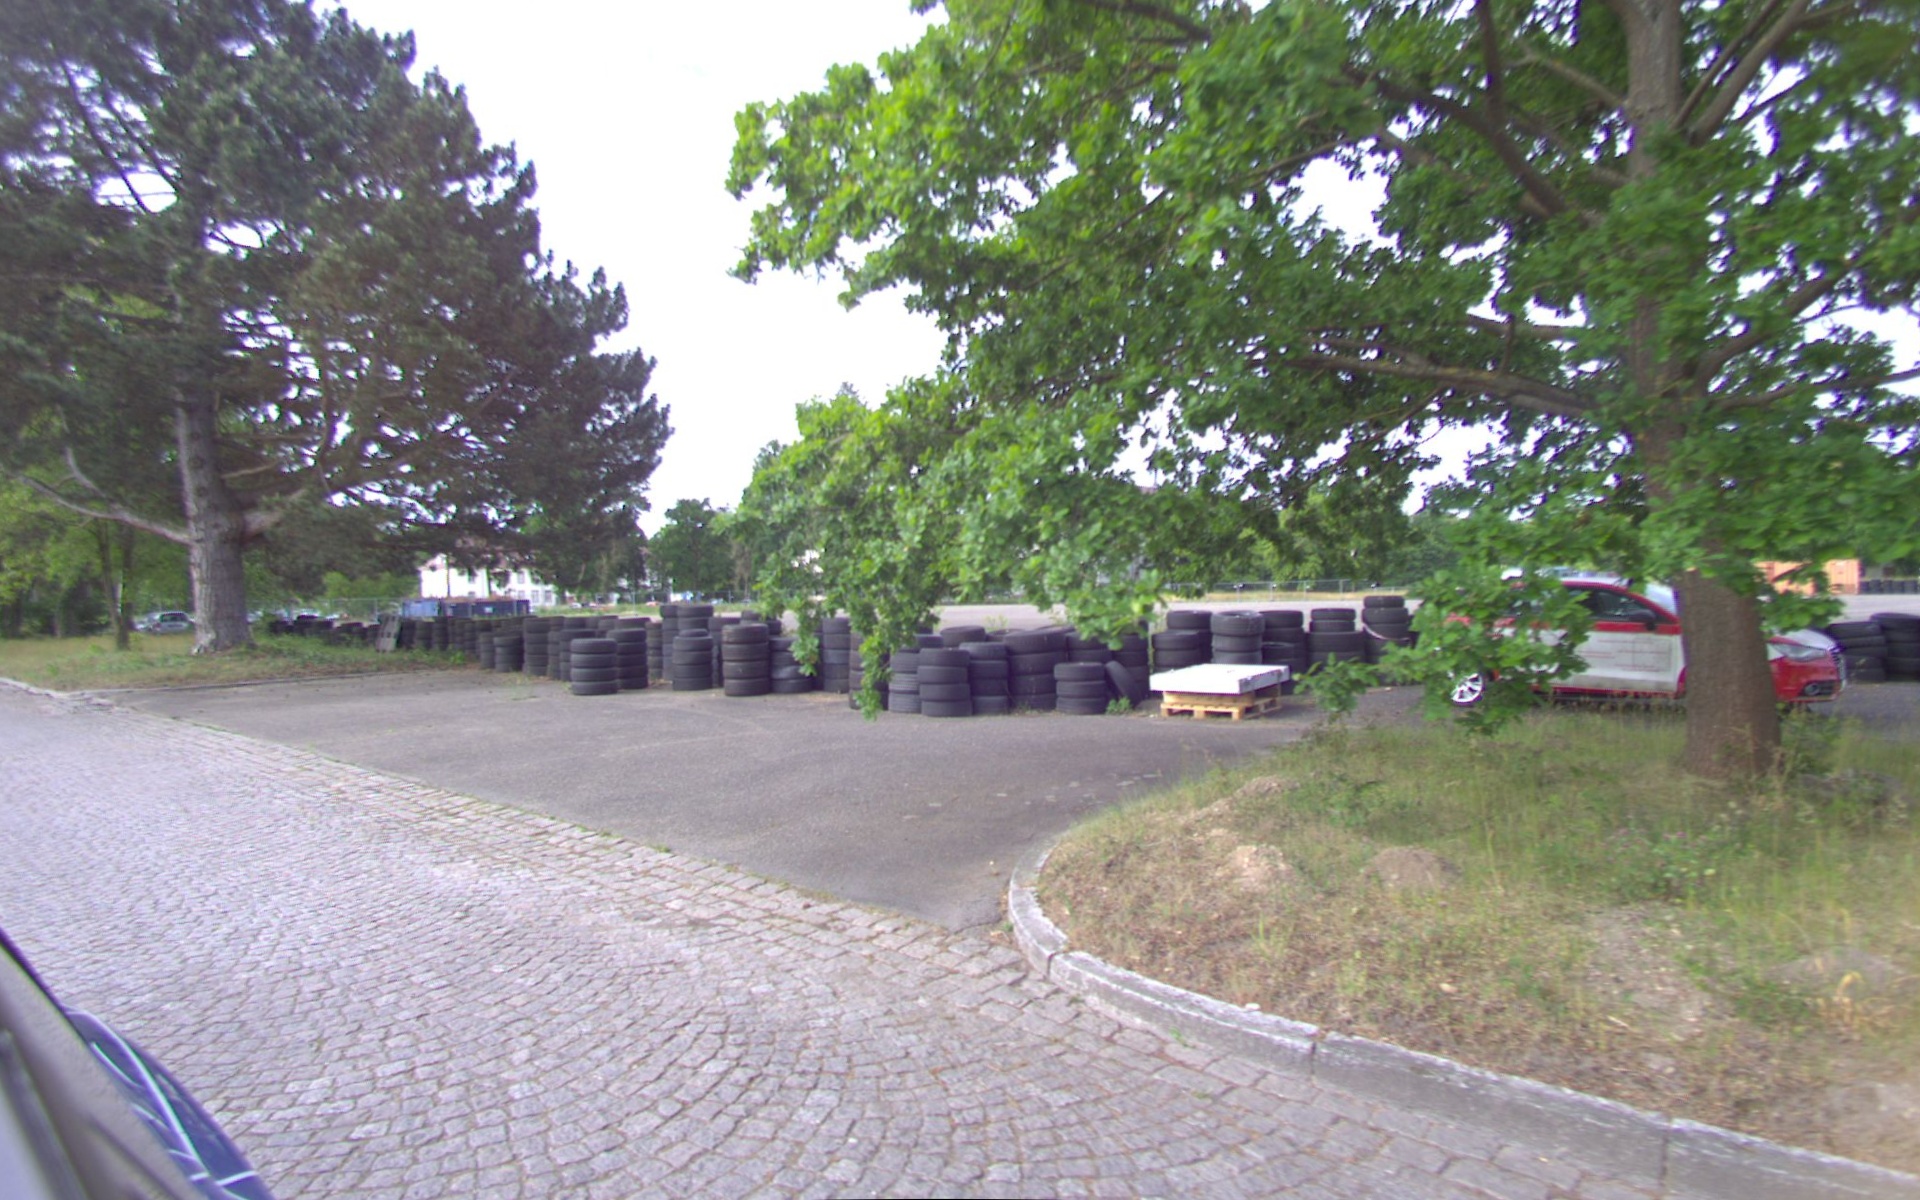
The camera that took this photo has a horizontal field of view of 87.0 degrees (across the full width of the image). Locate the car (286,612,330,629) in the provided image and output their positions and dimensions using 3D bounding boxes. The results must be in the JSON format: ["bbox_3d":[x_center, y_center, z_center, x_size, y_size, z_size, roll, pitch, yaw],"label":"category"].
[{"bbox_3d":[-58.481,1.866,90.773,4.446,1.460,1.975,-1,0,38],"label":"car"}]

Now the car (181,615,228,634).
[{"bbox_3d":[-62.741,2.063,84.049,4.446,1.460,1.975,-1,0,38],"label":"car"}]

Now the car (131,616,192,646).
[{"bbox_3d":[-40.892,1.583,51.788,3.719,1.421,1.649,-1,0,39],"label":"car"}]

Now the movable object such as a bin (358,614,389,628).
[{"bbox_3d":[-48.181,1.730,83.130,2.712,1.079,1.046,-1,0,32],"label":"movable object such as a bin"}]

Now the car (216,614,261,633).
[{"bbox_3d":[-61.500,2.002,86.250,4.446,1.460,1.975,-1,0,38],"label":"car"}]

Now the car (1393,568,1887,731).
[{"bbox_3d":[7.280,0.457,11.163,1.802,1.442,4.222,-2,0,-43],"label":"car"}]

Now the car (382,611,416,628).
[{"bbox_3d":[-58.960,2.020,106.317,3.797,1.696,1.728,-1,0,36],"label":"car"}]
